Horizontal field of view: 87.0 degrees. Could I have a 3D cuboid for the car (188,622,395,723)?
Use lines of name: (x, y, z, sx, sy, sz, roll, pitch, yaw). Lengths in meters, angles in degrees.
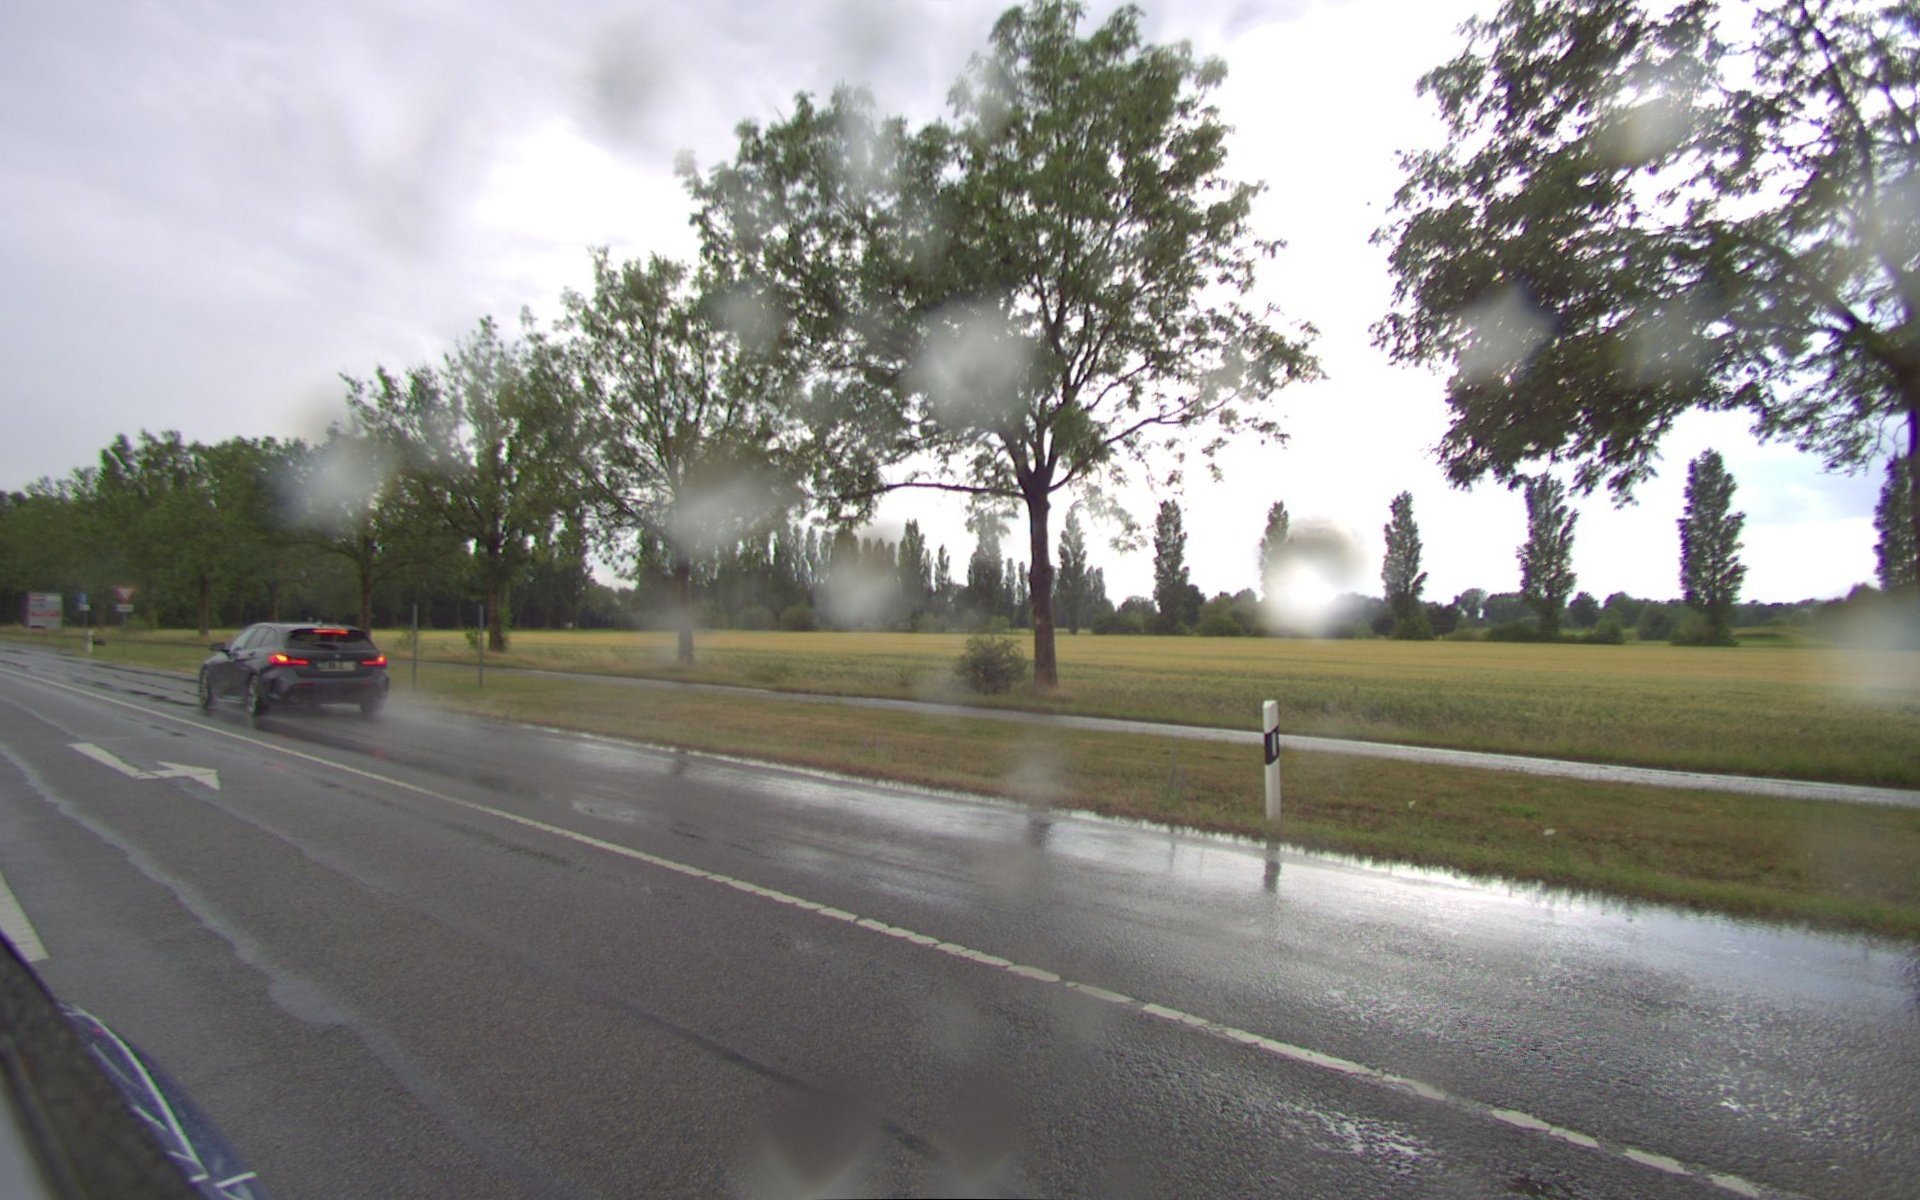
car: (-10.857, 1.103, 16.339, 4.041, 1.415, 1.702, -1, -4, 41)
